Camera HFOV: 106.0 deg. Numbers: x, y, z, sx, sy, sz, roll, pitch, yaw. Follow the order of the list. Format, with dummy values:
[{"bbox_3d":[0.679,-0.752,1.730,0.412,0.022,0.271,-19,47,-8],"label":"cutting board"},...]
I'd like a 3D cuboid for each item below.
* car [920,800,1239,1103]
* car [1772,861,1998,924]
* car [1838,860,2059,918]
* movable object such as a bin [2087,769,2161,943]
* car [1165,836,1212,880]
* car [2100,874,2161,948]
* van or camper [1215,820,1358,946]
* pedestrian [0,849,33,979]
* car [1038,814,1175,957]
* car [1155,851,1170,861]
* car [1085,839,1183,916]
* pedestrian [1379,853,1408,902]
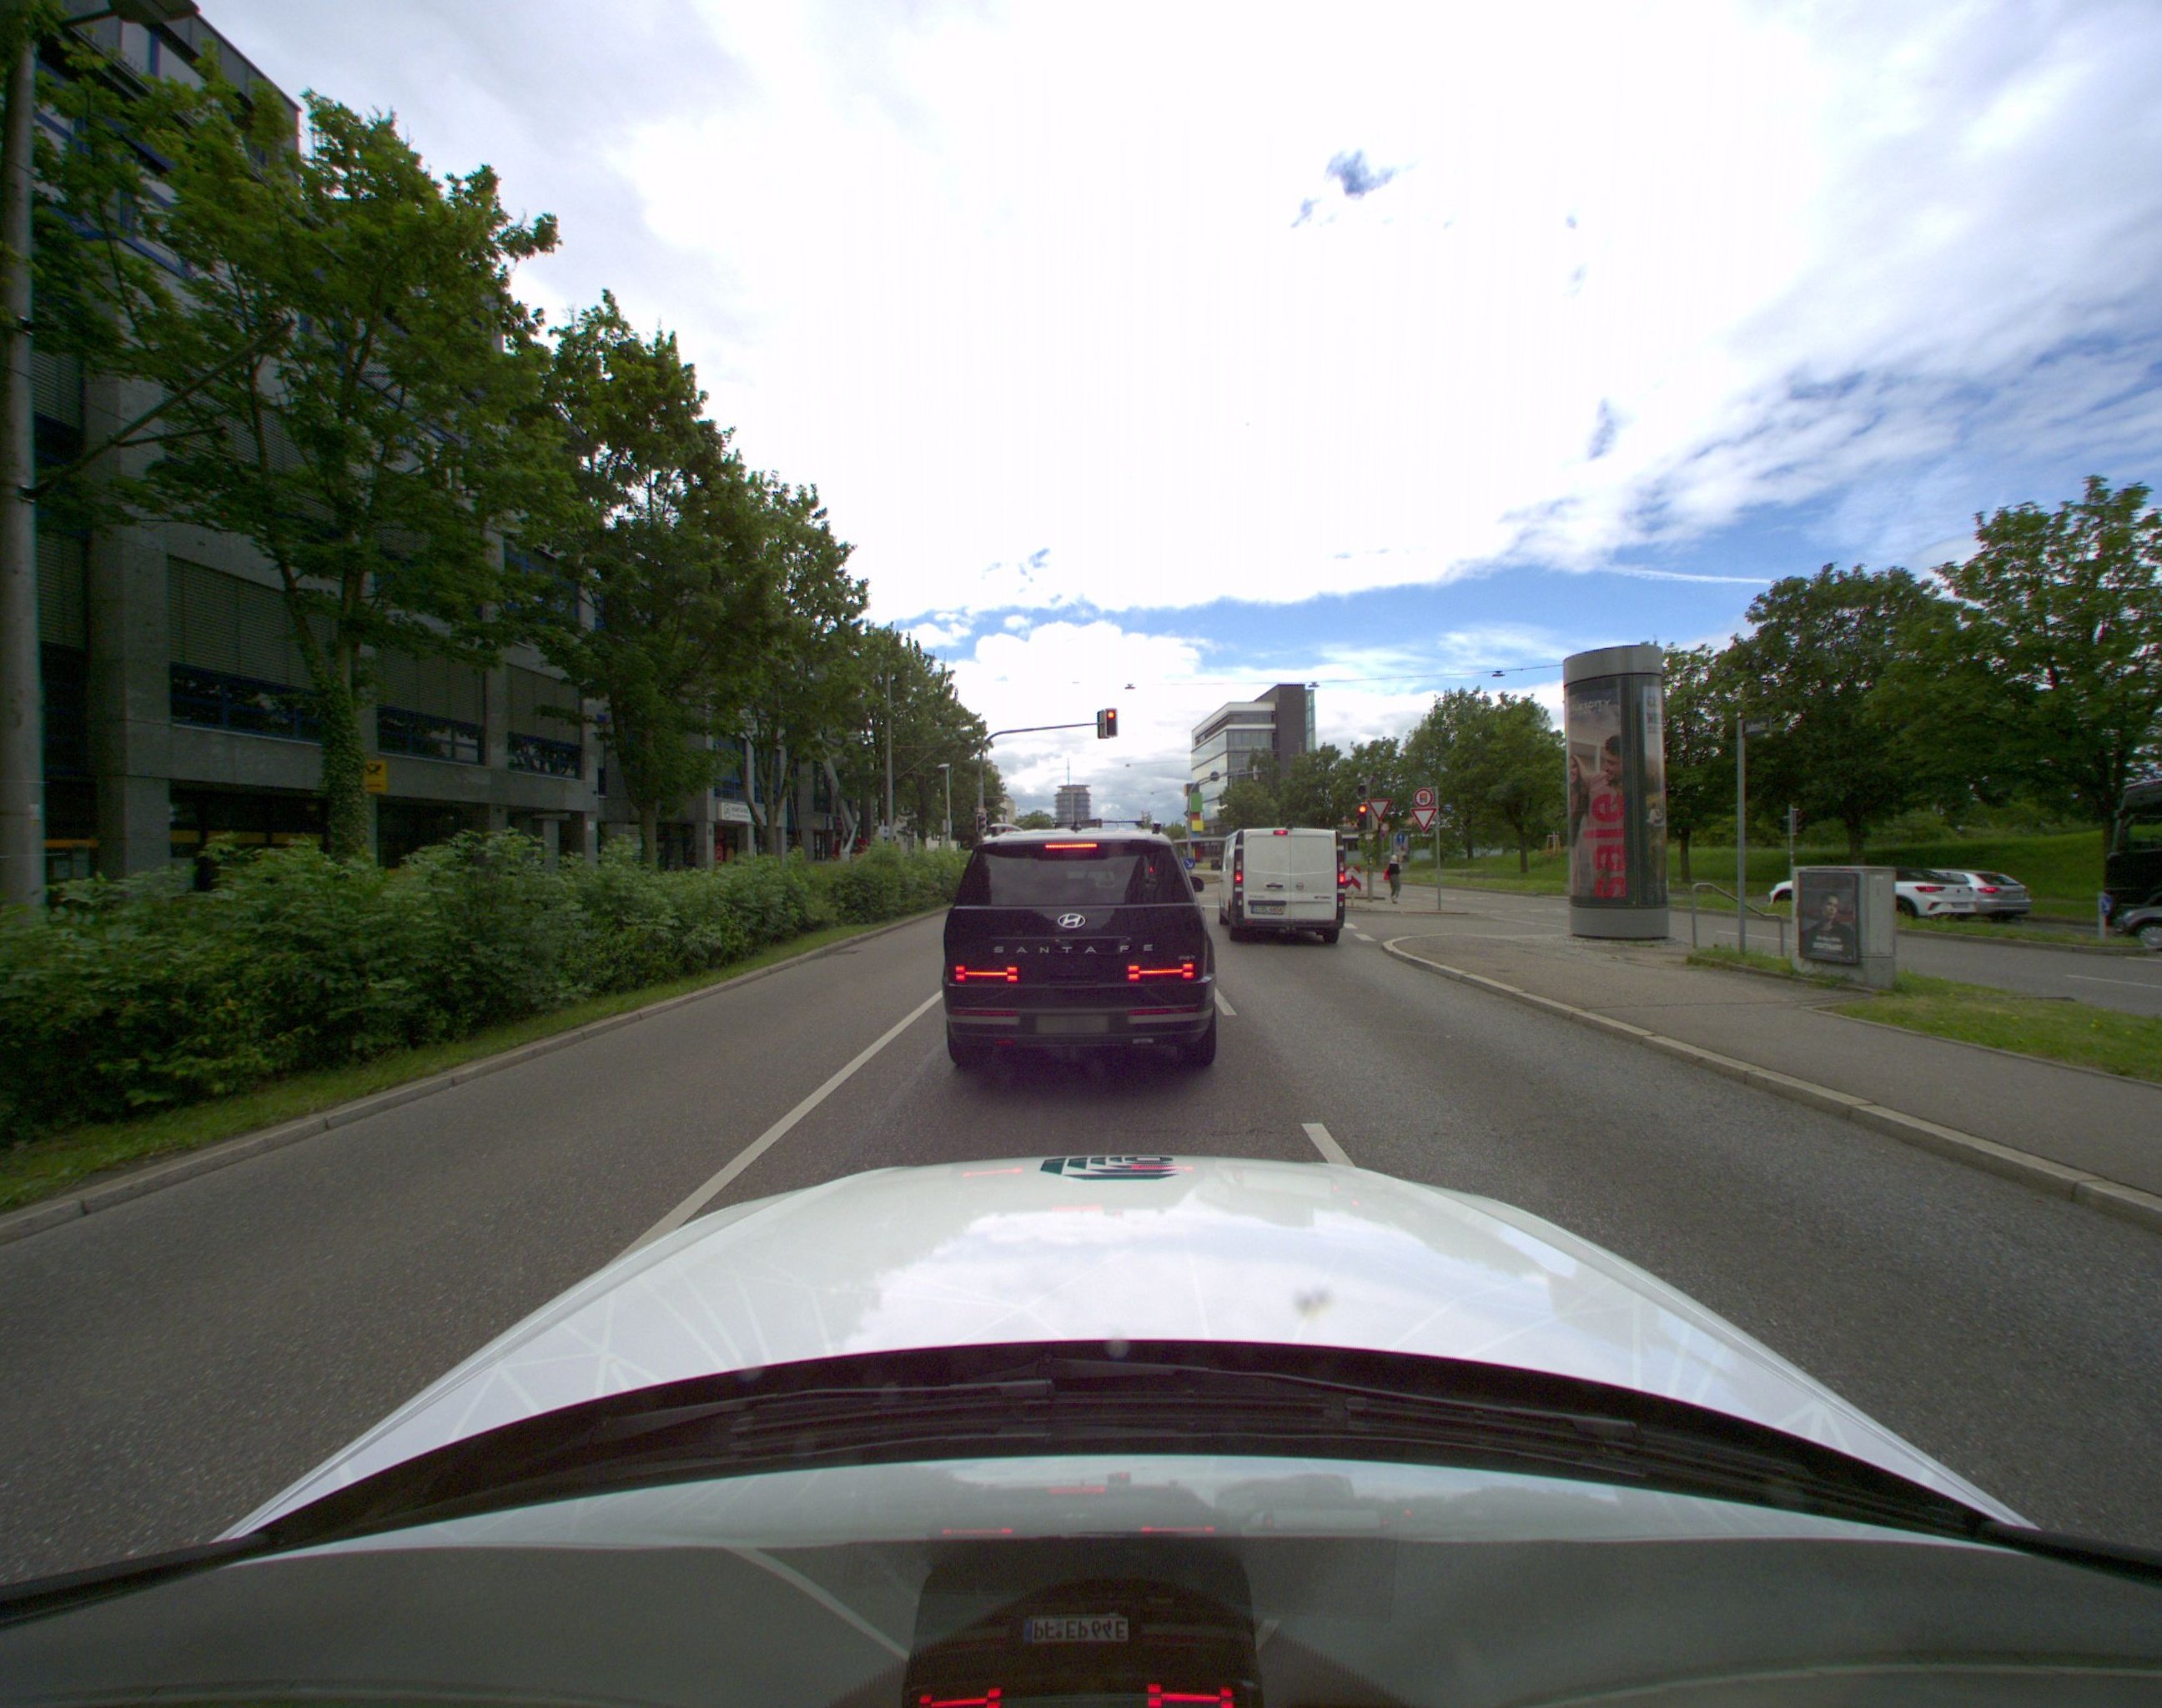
[{"bbox_3d":[0.052,0.581,6.796,1.862,1.760,3.881,-1,0,2],"label":"car"},{"bbox_3d":[21.757,0.987,22.282,1.994,1.453,3.985,1,0,-11],"label":"car"},{"bbox_3d":[25.090,0.967,23.780,1.994,1.453,3.985,1,0,-11],"label":"car"},{"bbox_3d":[26.250,-0.009,15.511,2.860,3.903,8.536,-1,-1,-11],"label":"movable object such as a bin"},{"bbox_3d":[5.258,0.208,40.393,1.985,2.014,4.003,-1,-1,3],"label":"car"},{"bbox_3d":[22.995,1.198,15.531,1.994,1.453,3.985,1,0,-11],"label":"car"},{"bbox_3d":[3.692,0.475,15.468,1.983,2.013,4.661,-1,0,6],"label":"van or camper"},{"bbox_3d":[-16.138,0.880,11.861,0.771,1.894,0.731,-1,-1,1],"label":"pedestrian"},{"bbox_3d":[0.423,0.454,13.609,1.908,2.003,3.881,-1,0,2],"label":"car"},{"bbox_3d":[13.174,0.342,131.720,1.987,1.684,3.998,-1,-1,-1],"label":"car"},{"bbox_3d":[1.446,0.550,20.370,1.764,1.717,4.353,-1,-1,12],"label":"car"},{"bbox_3d":[10.204,0.752,26.600,0.744,1.584,0.567,1,0,-38],"label":"pedestrian"}]
